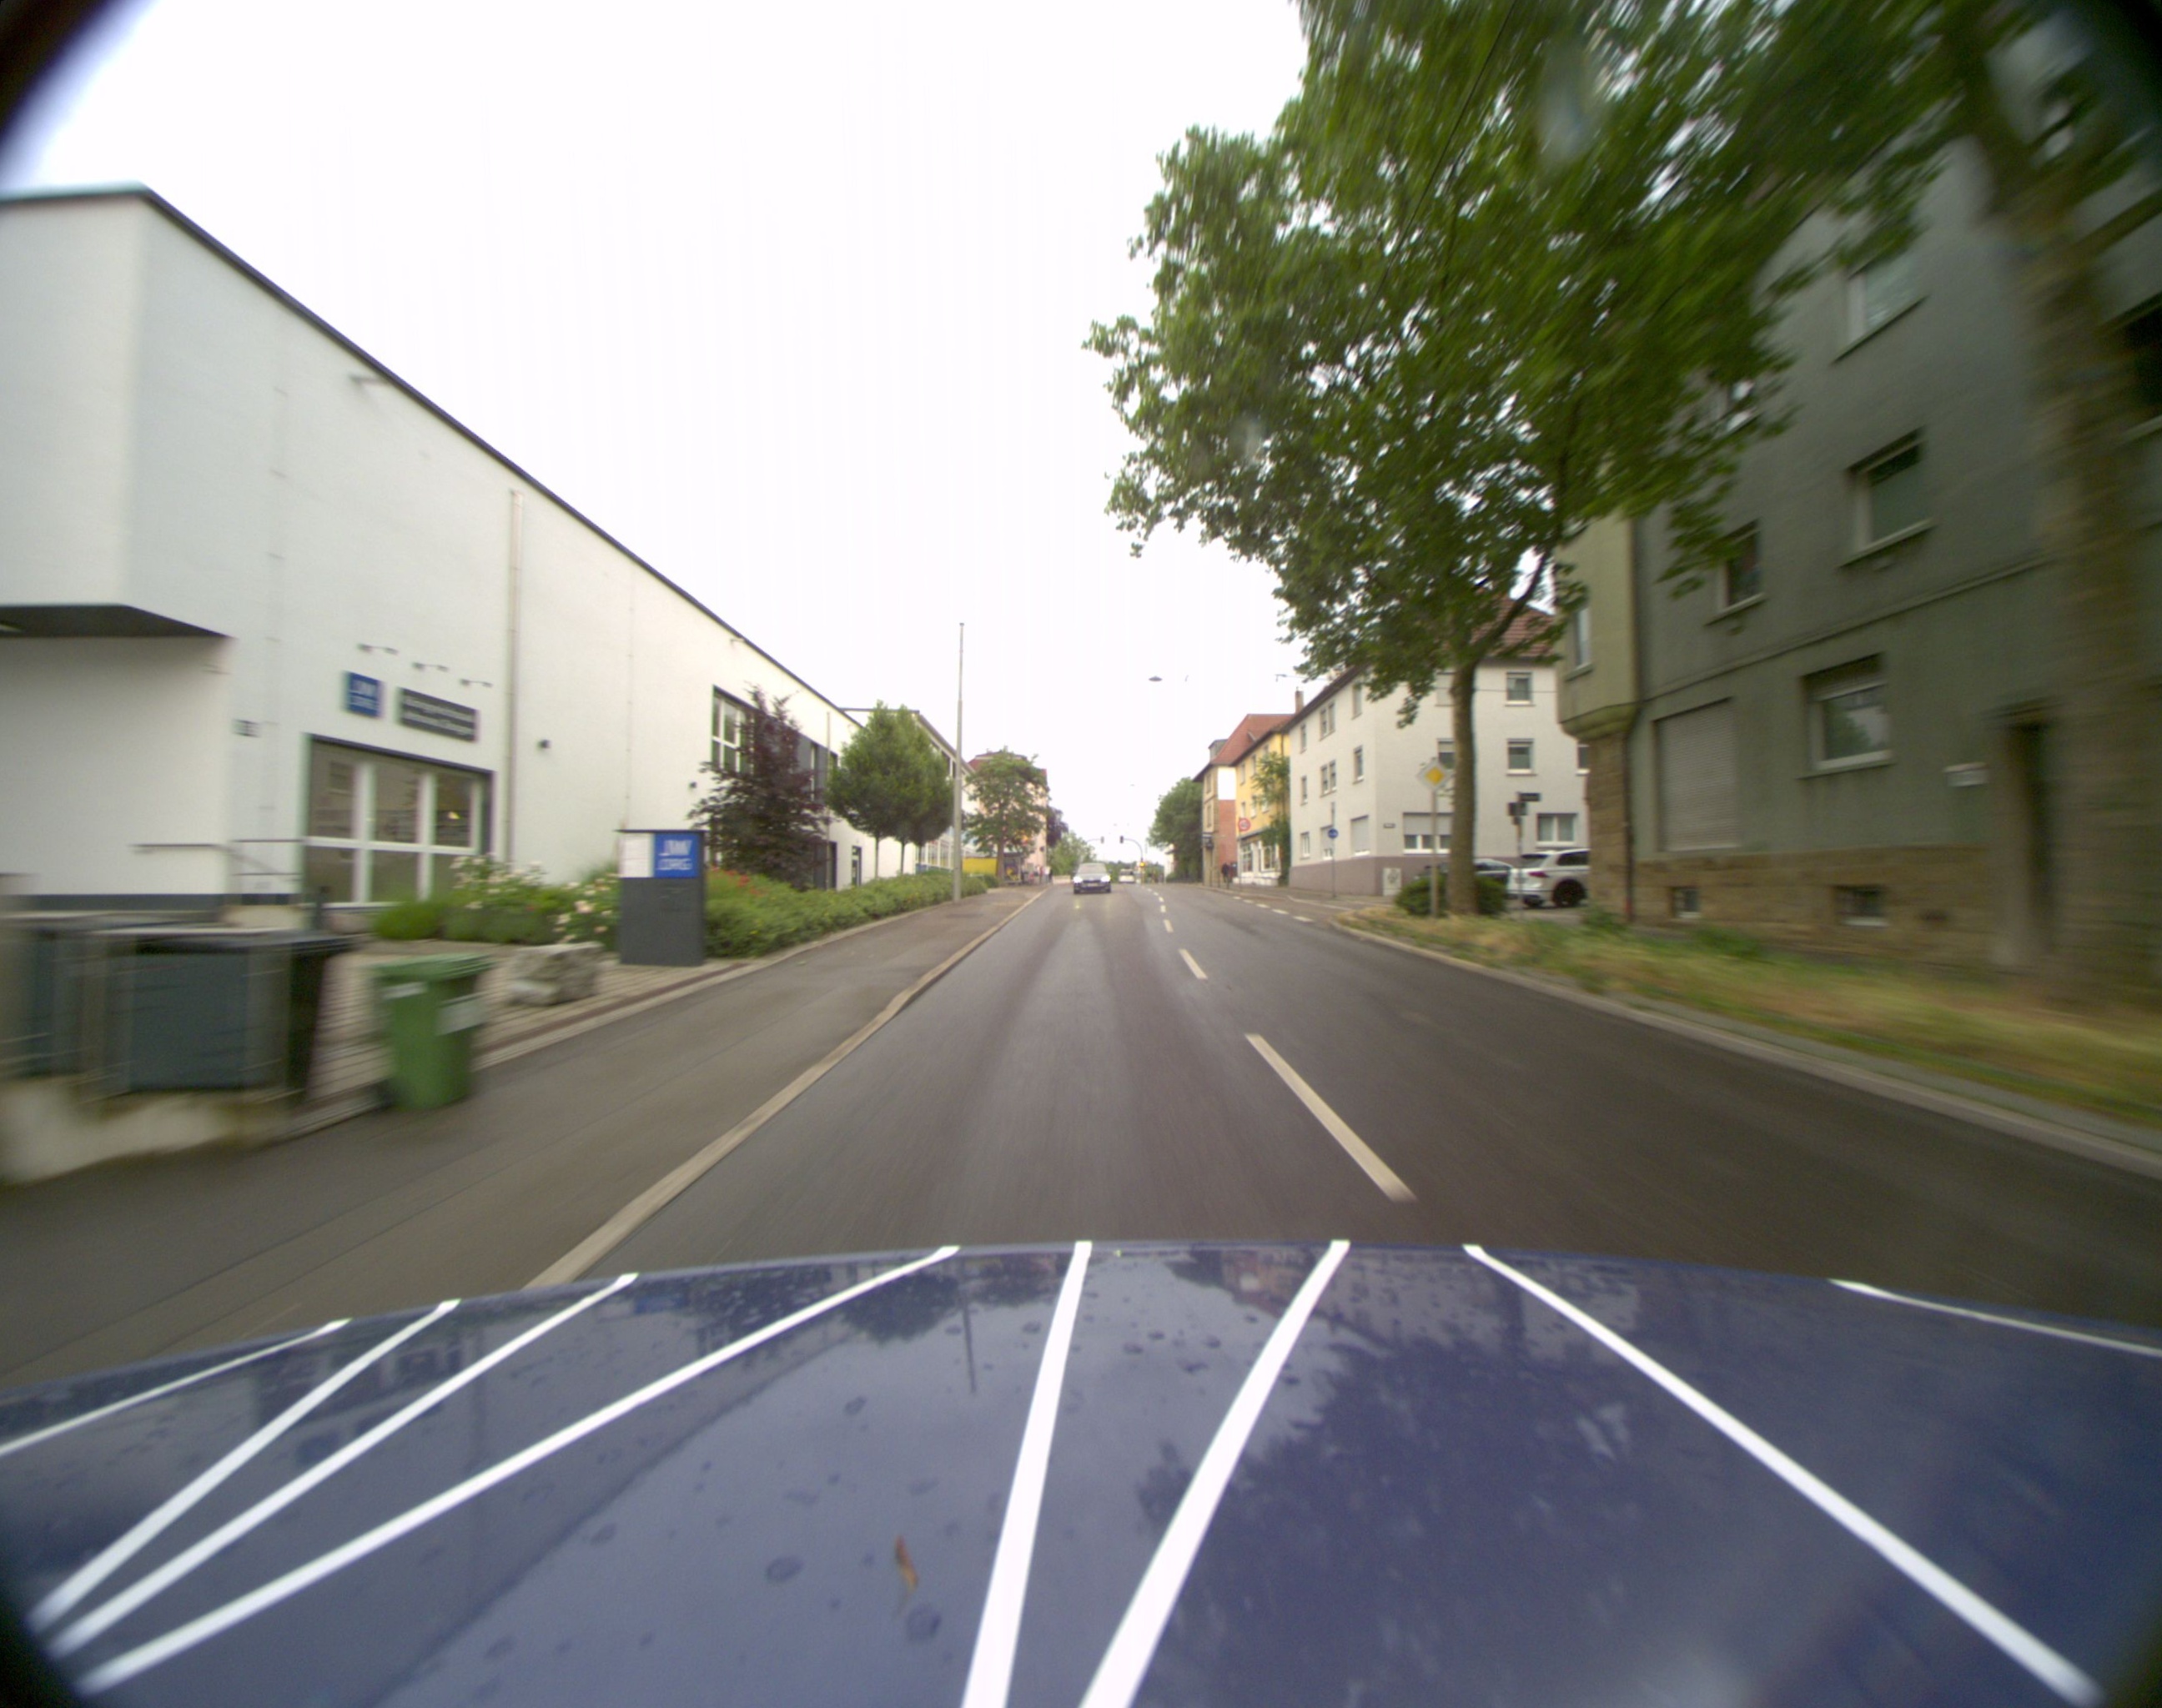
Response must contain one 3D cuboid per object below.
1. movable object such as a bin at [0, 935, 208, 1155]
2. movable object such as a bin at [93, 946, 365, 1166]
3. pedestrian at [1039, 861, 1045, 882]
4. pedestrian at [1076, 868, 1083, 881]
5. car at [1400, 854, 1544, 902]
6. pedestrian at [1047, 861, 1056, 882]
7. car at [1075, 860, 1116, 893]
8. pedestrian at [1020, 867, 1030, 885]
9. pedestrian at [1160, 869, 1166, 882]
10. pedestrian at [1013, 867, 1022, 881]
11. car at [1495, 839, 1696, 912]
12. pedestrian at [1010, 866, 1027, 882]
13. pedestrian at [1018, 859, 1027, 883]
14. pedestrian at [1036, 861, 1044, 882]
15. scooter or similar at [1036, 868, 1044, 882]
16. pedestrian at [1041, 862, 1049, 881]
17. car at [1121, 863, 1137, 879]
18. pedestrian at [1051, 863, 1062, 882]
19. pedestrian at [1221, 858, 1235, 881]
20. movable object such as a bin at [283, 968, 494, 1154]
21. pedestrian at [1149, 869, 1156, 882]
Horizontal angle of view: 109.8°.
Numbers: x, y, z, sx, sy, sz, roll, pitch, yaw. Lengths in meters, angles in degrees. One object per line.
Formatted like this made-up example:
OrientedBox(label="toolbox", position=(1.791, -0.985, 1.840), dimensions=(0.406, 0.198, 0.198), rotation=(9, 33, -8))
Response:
OrientedBox(label="movable object such as a bin", position=(-5.948, 1.067, 4.467), dimensions=(0.696, 1.076, 0.779), rotation=(2, 0, 2))
OrientedBox(label="movable object such as a bin", position=(-4.977, 1.138, 4.500), dimensions=(0.696, 1.076, 0.779), rotation=(2, 0, 2))
OrientedBox(label="pedestrian", position=(-3.434, 1.526, 67.599), dimensions=(0.460, 1.829, 0.604), rotation=(2, -1, -4))
OrientedBox(label="pedestrian", position=(-0.212, 2.623, 98.583), dimensions=(0.786, 1.632, 1.222), rotation=(-2, -1, -1))
OrientedBox(label="car", position=(13.784, 0.827, 26.962), dimensions=(3.997, 1.389, 2.000), rotation=(-4, -1, 0))
OrientedBox(label="pedestrian", position=(-2.682, 1.553, 68.788), dimensions=(0.486, 1.863, 0.634), rotation=(1, -2, 44))
OrientedBox(label="car", position=(0.702, 1.128, 36.247), dimensions=(1.837, 1.429, 4.003), rotation=(-1, -3, 2))
OrientedBox(label="pedestrian", position=(-5.190, 2.063, 70.353), dimensions=(0.676, 1.615, 0.623), rotation=(3, -1, -27))
OrientedBox(label="pedestrian", position=(11.579, 3.087, 107.392), dimensions=(0.808, 1.809, 1.117), rotation=(-1, -3, 1))
OrientedBox(label="pedestrian", position=(-5.256, 1.663, 62.732), dimensions=(0.662, 1.191, 0.741), rotation=(1, -1, -4))
OrientedBox(label="car", position=(14.364, 0.601, 21.413), dimensions=(4.193, 1.693, 2.000), rotation=(-4, -1, 1))
OrientedBox(label="pedestrian", position=(-5.050, 1.585, 61.194), dimensions=(1.359, 1.265, 0.741), rotation=(1, -1, -4))
OrientedBox(label="pedestrian", position=(-4.504, 1.282, 58.536), dimensions=(0.648, 1.820, 0.741), rotation=(1, -1, -4))
OrientedBox(label="pedestrian", position=(-3.564, 1.521, 65.430), dimensions=(0.662, 1.731, 0.829), rotation=(1, -1, -4))
OrientedBox(label="scooter or similar", position=(-3.504, 1.792, 64.794), dimensions=(0.619, 1.133, 0.567), rotation=(1, -1, -4))
OrientedBox(label="pedestrian", position=(-3.276, 1.612, 68.512), dimensions=(0.446, 1.697, 0.558), rotation=(2, -1, 30))
OrientedBox(label="car", position=(5.871, 2.069, 93.315), dimensions=(1.886, 1.858, 4.454), rotation=(0, -1, 1))
OrientedBox(label="pedestrian", position=(-2.219, 1.703, 69.307), dimensions=(0.638, 1.699, 0.747), rotation=(3, -1, -33))
OrientedBox(label="pedestrian", position=(10.947, 1.161, 56.625), dimensions=(0.817, 1.669, 0.993), rotation=(-1, 0, -1))
OrientedBox(label="movable object such as a bin", position=(-4.187, 1.222, 4.642), dimensions=(0.621, 0.931, 0.686), rotation=(2, 0, 2))
OrientedBox(label="pedestrian", position=(10.179, 3.135, 108.804), dimensions=(0.864, 1.870, 1.044), rotation=(0, -3, 0))
